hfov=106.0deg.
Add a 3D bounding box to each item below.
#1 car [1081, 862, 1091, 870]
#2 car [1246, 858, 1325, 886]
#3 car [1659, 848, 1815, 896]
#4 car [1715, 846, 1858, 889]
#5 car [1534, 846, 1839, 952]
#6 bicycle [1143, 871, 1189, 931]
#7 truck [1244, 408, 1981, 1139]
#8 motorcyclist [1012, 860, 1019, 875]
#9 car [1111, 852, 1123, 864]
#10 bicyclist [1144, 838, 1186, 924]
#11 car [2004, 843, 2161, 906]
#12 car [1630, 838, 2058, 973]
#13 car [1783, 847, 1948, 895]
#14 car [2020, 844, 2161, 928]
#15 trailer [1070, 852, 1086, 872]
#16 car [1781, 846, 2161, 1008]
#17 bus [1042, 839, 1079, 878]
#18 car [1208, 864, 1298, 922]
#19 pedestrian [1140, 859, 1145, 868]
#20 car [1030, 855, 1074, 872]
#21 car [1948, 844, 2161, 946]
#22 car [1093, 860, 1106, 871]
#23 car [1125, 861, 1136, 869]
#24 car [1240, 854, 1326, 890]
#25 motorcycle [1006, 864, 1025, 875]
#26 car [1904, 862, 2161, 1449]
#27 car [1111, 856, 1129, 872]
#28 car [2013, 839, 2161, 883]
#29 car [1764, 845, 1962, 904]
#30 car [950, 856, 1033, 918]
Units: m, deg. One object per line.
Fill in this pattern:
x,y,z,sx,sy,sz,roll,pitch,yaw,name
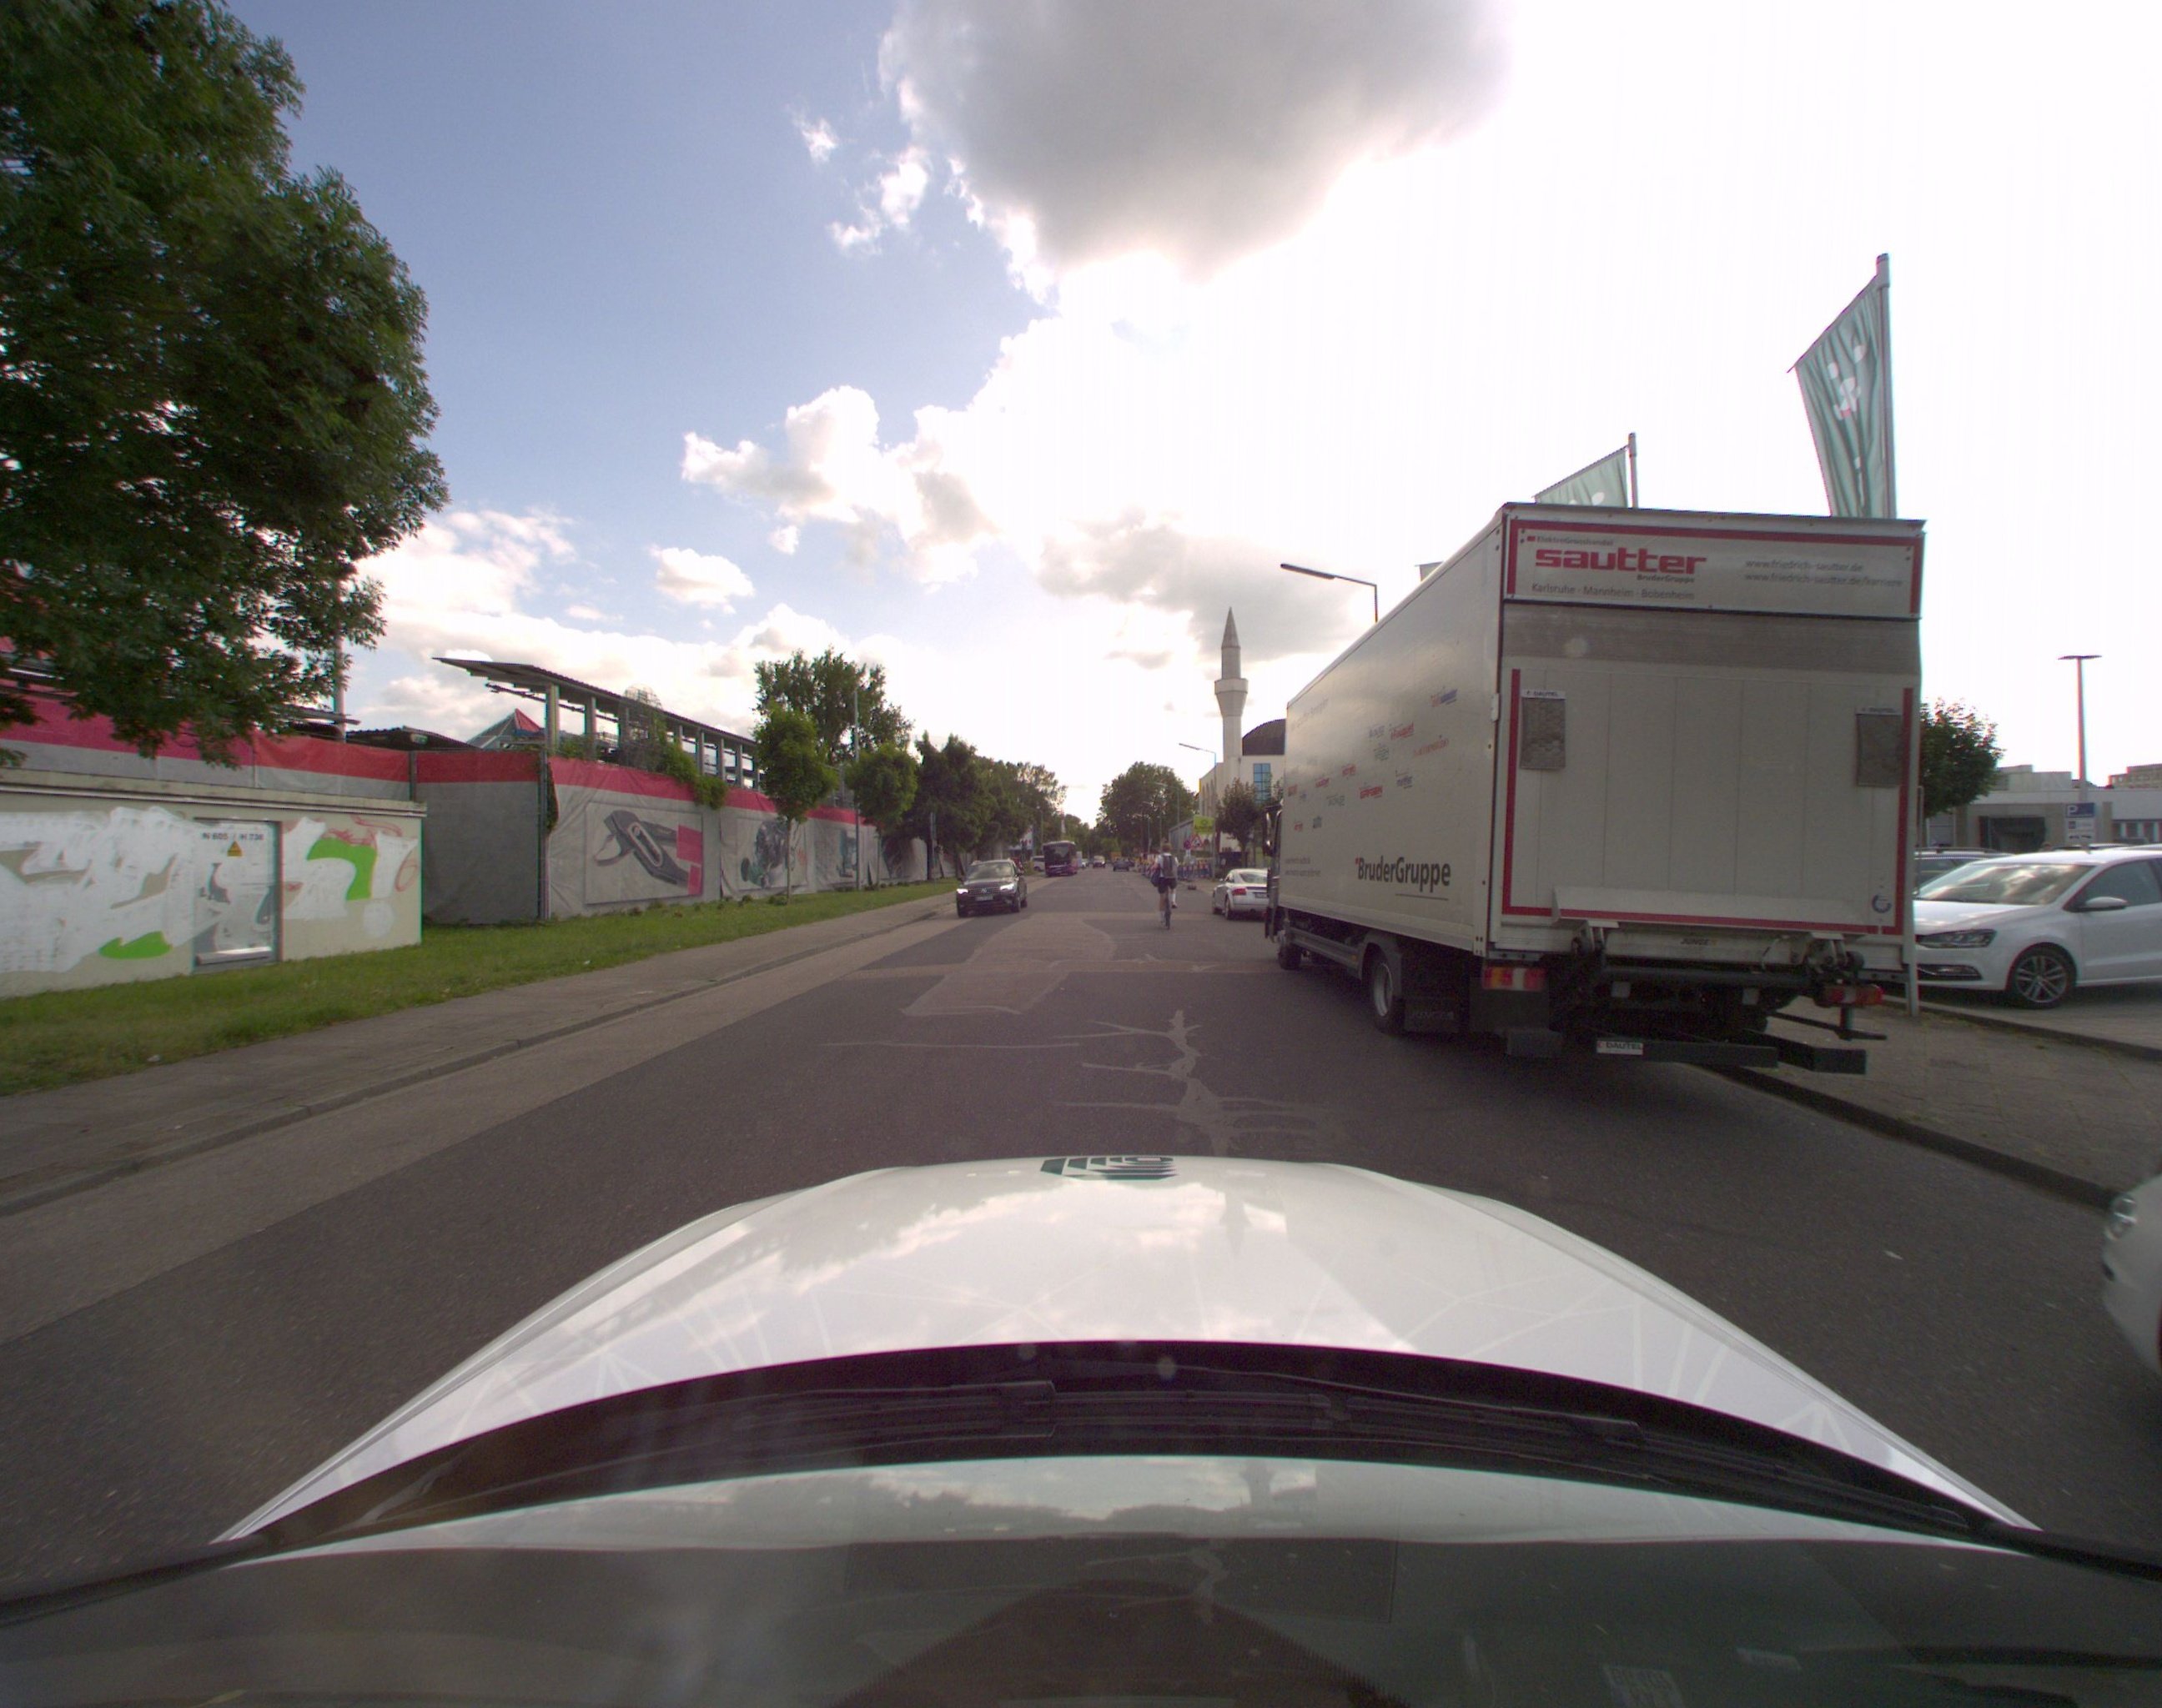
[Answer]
0.940,2.243,156.753,1.702,1.420,4.335,-3,-1,3,car
11.921,1.018,47.654,4.091,1.463,1.989,-2,-1,-2,car
22.757,0.615,28.350,4.046,1.484,1.724,-2,-1,-1,car
27.041,0.496,31.315,4.030,1.484,1.724,-2,-1,-1,car
9.961,0.701,13.586,3.876,1.522,1.747,-2,-1,-4,car
1.836,0.991,17.909,0.795,1.180,2.627,1,-1,1,bicycle
3.878,-0.457,8.819,2.767,4.116,8.283,2,0,2,truck
-7.943,1.597,98.181,0.671,1.723,0.995,-1,-1,3,motorcyclist
7.743,0.846,174.242,2.192,2.578,6.403,-1,0,0,car
1.832,0.579,17.876,0.803,1.792,1.207,1,-1,1,bicyclist
26.858,0.503,21.084,3.998,1.484,1.724,-2,-1,-1,car
10.078,0.629,10.960,4.277,1.542,1.747,-2,-1,-4,car
27.149,0.575,28.271,4.106,1.484,1.724,-2,-1,-1,car
21.229,0.554,15.838,3.970,1.484,1.740,-2,-1,-1,car
-0.460,1.200,121.284,2.131,2.783,4.705,-3,-1,2,trailer
10.031,0.675,8.605,3.876,1.432,1.747,-2,-1,-4,car
-1.923,0.477,81.308,2.653,3.423,13.224,-4,-1,2,bus
4.599,1.004,22.307,1.655,1.340,3.986,3,0,1,car
10.083,1.537,133.339,0.678,1.534,1.131,0,-1,2,pedestrian
-3.473,1.157,97.694,4.973,1.949,1.996,-1,-1,7,car
16.928,0.609,13.210,1.714,1.519,3.752,0,0,-1,car
2.865,1.763,125.493,1.861,1.630,4.128,-1,0,1,car
8.925,1.983,146.734,1.800,1.391,4.592,2,0,3,car
9.221,0.823,37.398,3.582,1.470,1.691,-2,-1,5,car
-7.898,1.854,98.167,2.212,1.214,0.995,-1,-1,2,motorcycle
3.573,0.797,0.966,1.540,1.511,3.625,2,0,0,car
4.627,1.150,97.279,1.955,1.815,4.275,-1,-1,0,car
37.851,0.247,30.396,4.172,1.484,1.724,-2,-1,-1,car
22.083,0.568,23.095,3.983,1.484,1.724,-2,-1,-1,car
-2.717,0.969,25.666,1.867,1.620,4.295,-5,-1,2,car
